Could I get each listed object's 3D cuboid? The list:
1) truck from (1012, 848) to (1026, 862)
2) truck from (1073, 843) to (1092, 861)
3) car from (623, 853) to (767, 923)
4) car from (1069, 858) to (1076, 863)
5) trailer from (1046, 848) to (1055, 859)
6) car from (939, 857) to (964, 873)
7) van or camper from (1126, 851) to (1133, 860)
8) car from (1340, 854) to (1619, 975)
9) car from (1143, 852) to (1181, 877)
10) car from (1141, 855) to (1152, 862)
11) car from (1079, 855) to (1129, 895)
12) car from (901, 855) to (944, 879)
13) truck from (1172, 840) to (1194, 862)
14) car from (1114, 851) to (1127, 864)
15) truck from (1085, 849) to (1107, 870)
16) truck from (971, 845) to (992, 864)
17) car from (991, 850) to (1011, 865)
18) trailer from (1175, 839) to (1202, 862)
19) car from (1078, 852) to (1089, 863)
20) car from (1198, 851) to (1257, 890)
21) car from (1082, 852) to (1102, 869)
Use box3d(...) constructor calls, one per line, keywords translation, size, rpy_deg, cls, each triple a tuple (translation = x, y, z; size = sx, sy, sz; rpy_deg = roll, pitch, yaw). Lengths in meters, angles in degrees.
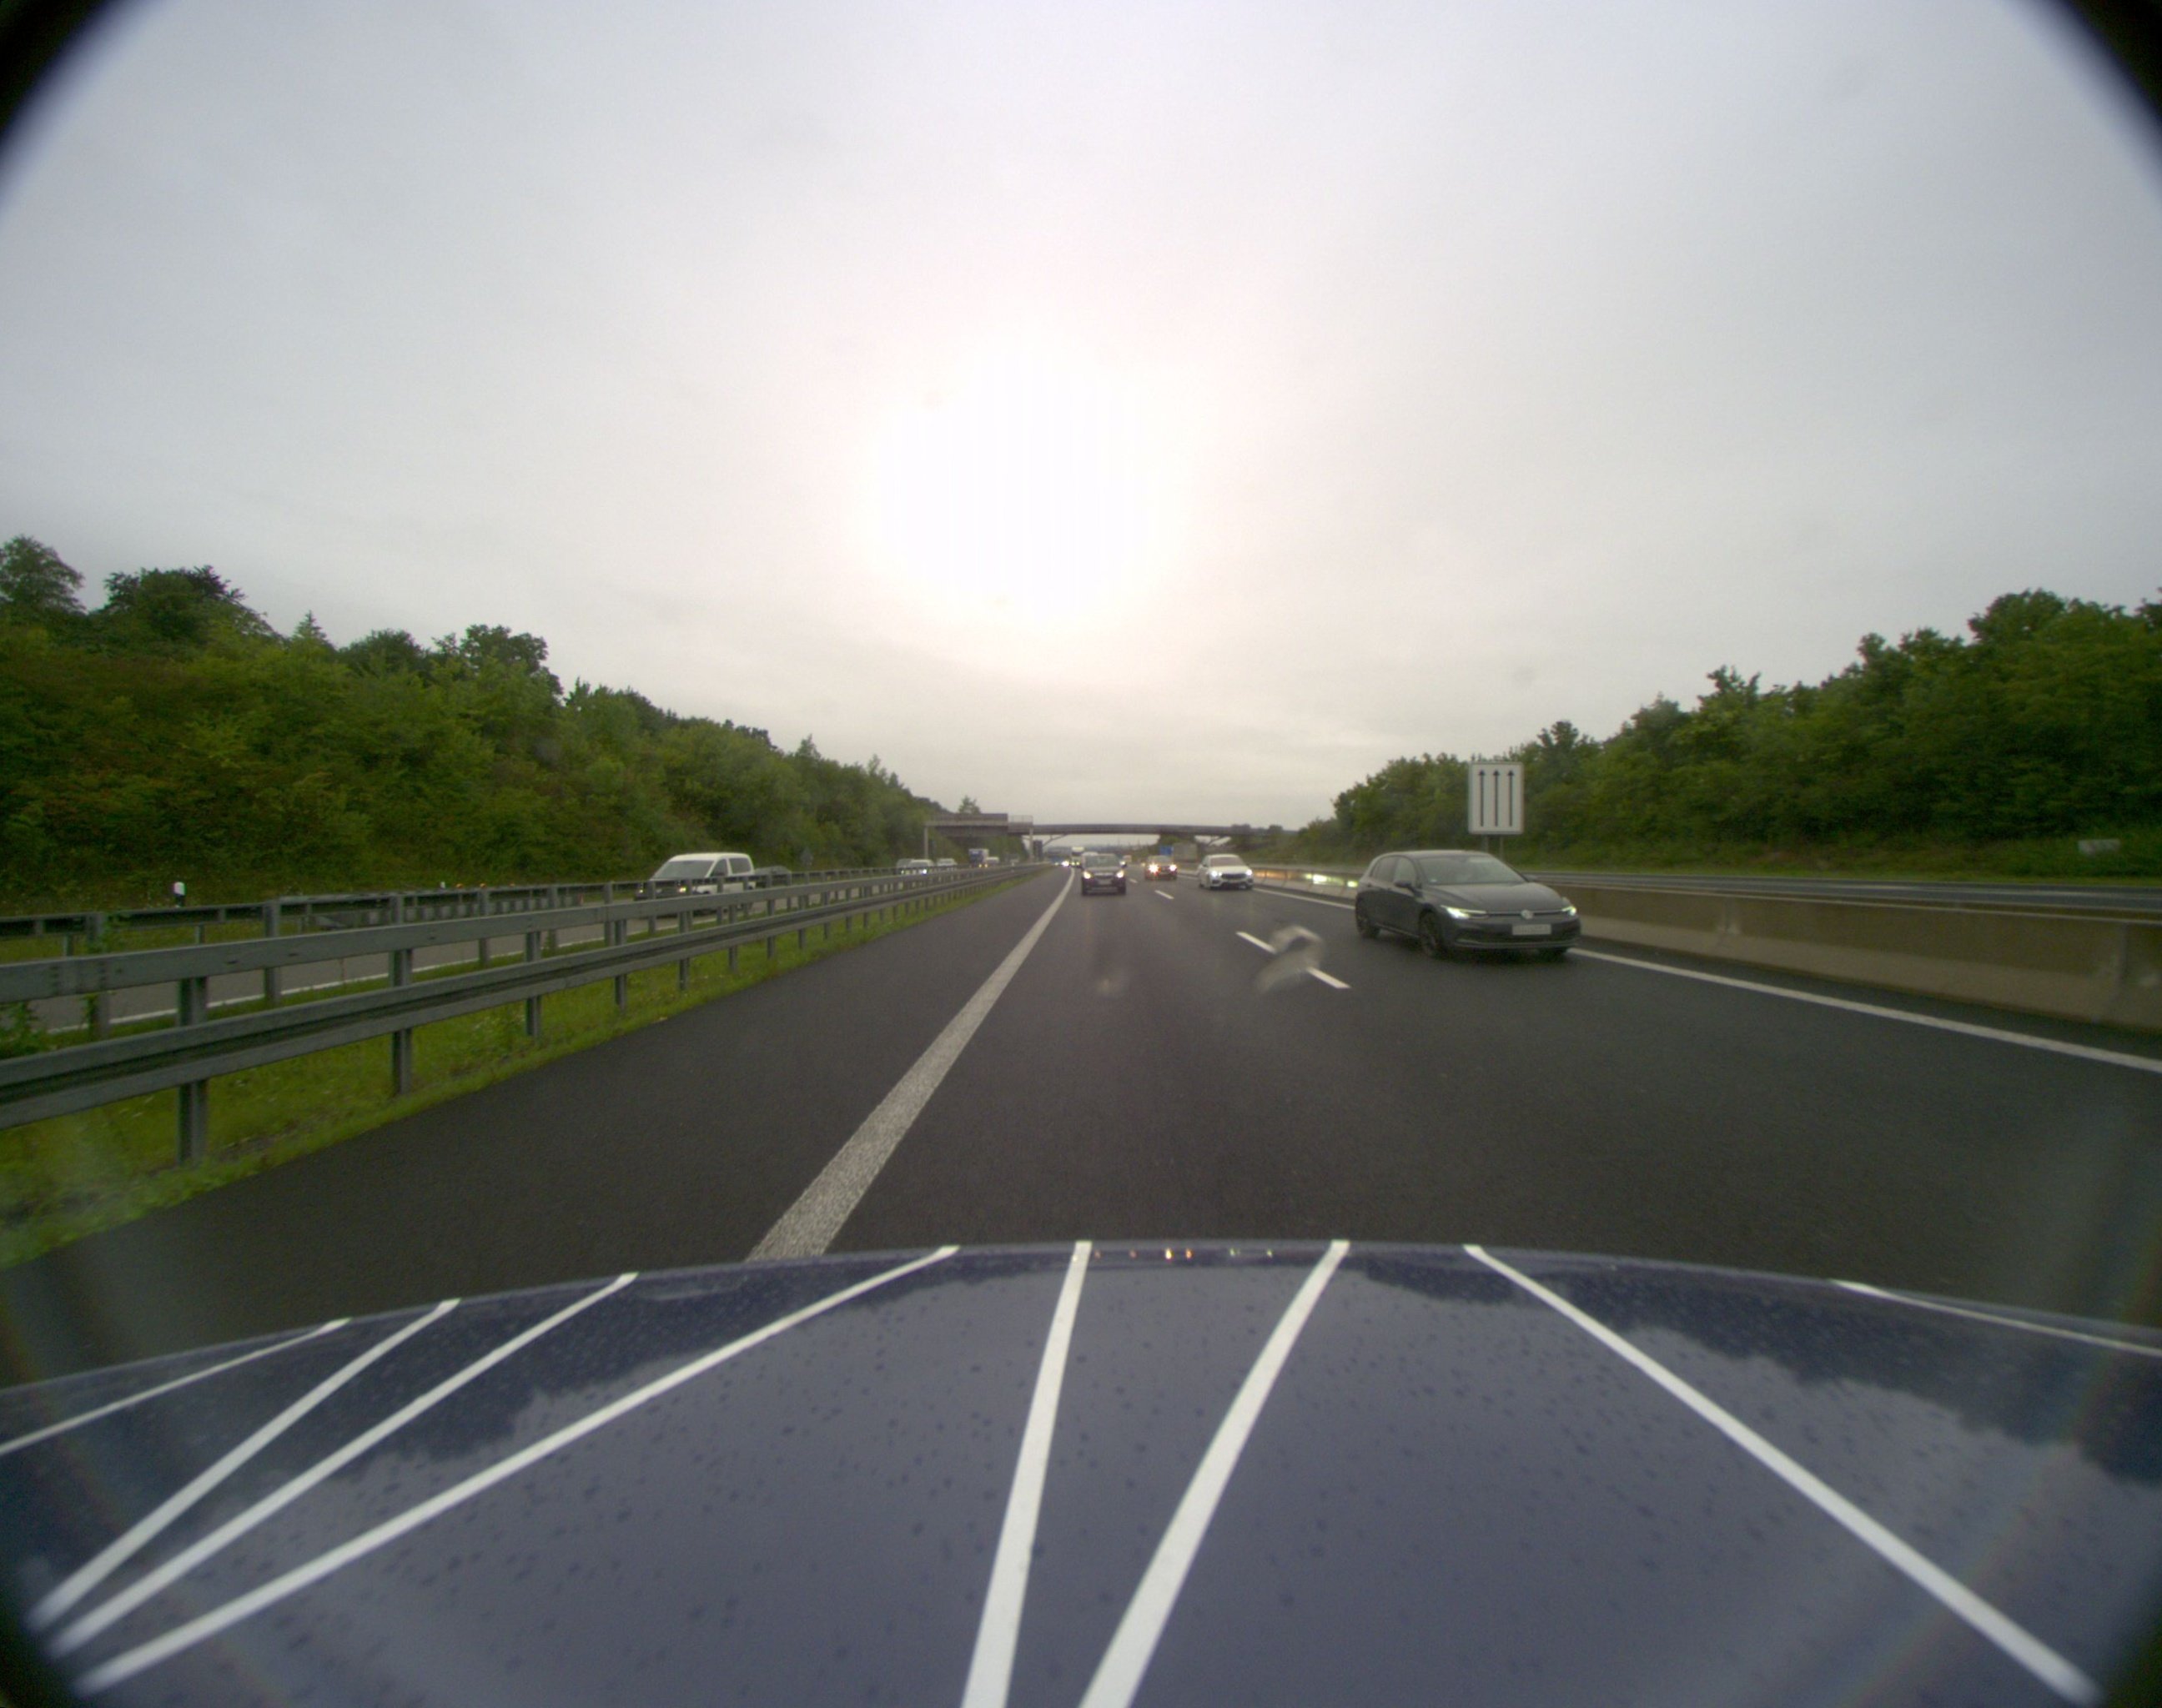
box3d(translation=(-16.937, 0.219, 207.818), size=(2.909, 3.397, 13.350), rpy_deg=(-2, 0, -1), cls="truck")
box3d(translation=(0.275, -0.449, 152.770), size=(3.154, 3.332, 13.096), rpy_deg=(-2, 0, -2), cls="truck")
box3d(translation=(-11.240, 0.909, 22.555), size=(1.864, 1.794, 4.647), rpy_deg=(-1, 0, 0), cls="car")
box3d(translation=(-2.683, 1.985, 237.658), size=(1.916, 1.671, 4.000), rpy_deg=(-1, 0, 3), cls="car")
box3d(translation=(-10.438, -0.170, 258.095), size=(2.547, 3.799, 11.329), rpy_deg=(-1, 0, 0), cls="trailer")
box3d(translation=(-14.058, 1.127, 82.733), size=(1.901, 1.603, 4.145), rpy_deg=(-1, 0, 0), cls="car")
box3d(translation=(14.116, 0.337, 220.583), size=(1.800, 2.455, 5.547), rpy_deg=(-1, 0, 0), cls="van or camper")
box3d(translation=(5.548, 0.730, 11.359), size=(1.905, 1.397, 4.459), rpy_deg=(-1, 0, 1), cls="car")
box3d(translation=(5.007, 0.626, 47.391), size=(1.905, 1.497, 4.114), rpy_deg=(-1, 0, 1), cls="car")
box3d(translation=(13.289, 0.933, 153.912), size=(1.905, 1.397, 4.379), rpy_deg=(-1, 0, 1), cls="car")
box3d(translation=(0.990, 0.814, 31.388), size=(1.905, 1.497, 4.115), rpy_deg=(-1, 0, 3), cls="car")
box3d(translation=(-11.124, 0.881, 53.636), size=(2.013, 1.539, 4.695), rpy_deg=(-1, 0, 0), cls="car")
box3d(translation=(20.382, -0.589, 152.597), size=(3.268, 4.059, 7.440), rpy_deg=(-1, 0, 0), cls="truck")
box3d(translation=(5.620, 0.468, 109.192), size=(1.715, 1.724, 4.000), rpy_deg=(-1, 0, 1), cls="car")
box3d(translation=(1.608, 0.620, 84.375), size=(2.175, 2.214, 5.642), rpy_deg=(-1, 0, 0), cls="truck")
box3d(translation=(-17.990, 0.063, 137.575), size=(2.909, 3.397, 9.279), rpy_deg=(-2, 0, -3), cls="truck")
box3d(translation=(-10.077, 0.477, 96.178), size=(2.013, 1.804, 4.276), rpy_deg=(-1, 0, 1), cls="car")
box3d(translation=(20.365, -0.582, 144.834), size=(3.268, 4.059, 13.844), rpy_deg=(-1, 0, 0), cls="trailer")
box3d(translation=(0.429, 0.496, 123.999), size=(1.715, 1.724, 4.000), rpy_deg=(-1, 0, 1), cls="car")
box3d(translation=(6.139, 0.663, 32.248), size=(1.905, 1.497, 4.115), rpy_deg=(-1, 0, 3), cls="car")
box3d(translation=(1.176, 0.645, 77.484), size=(1.825, 1.669, 4.001), rpy_deg=(-2, 0, 3), cls="car")
